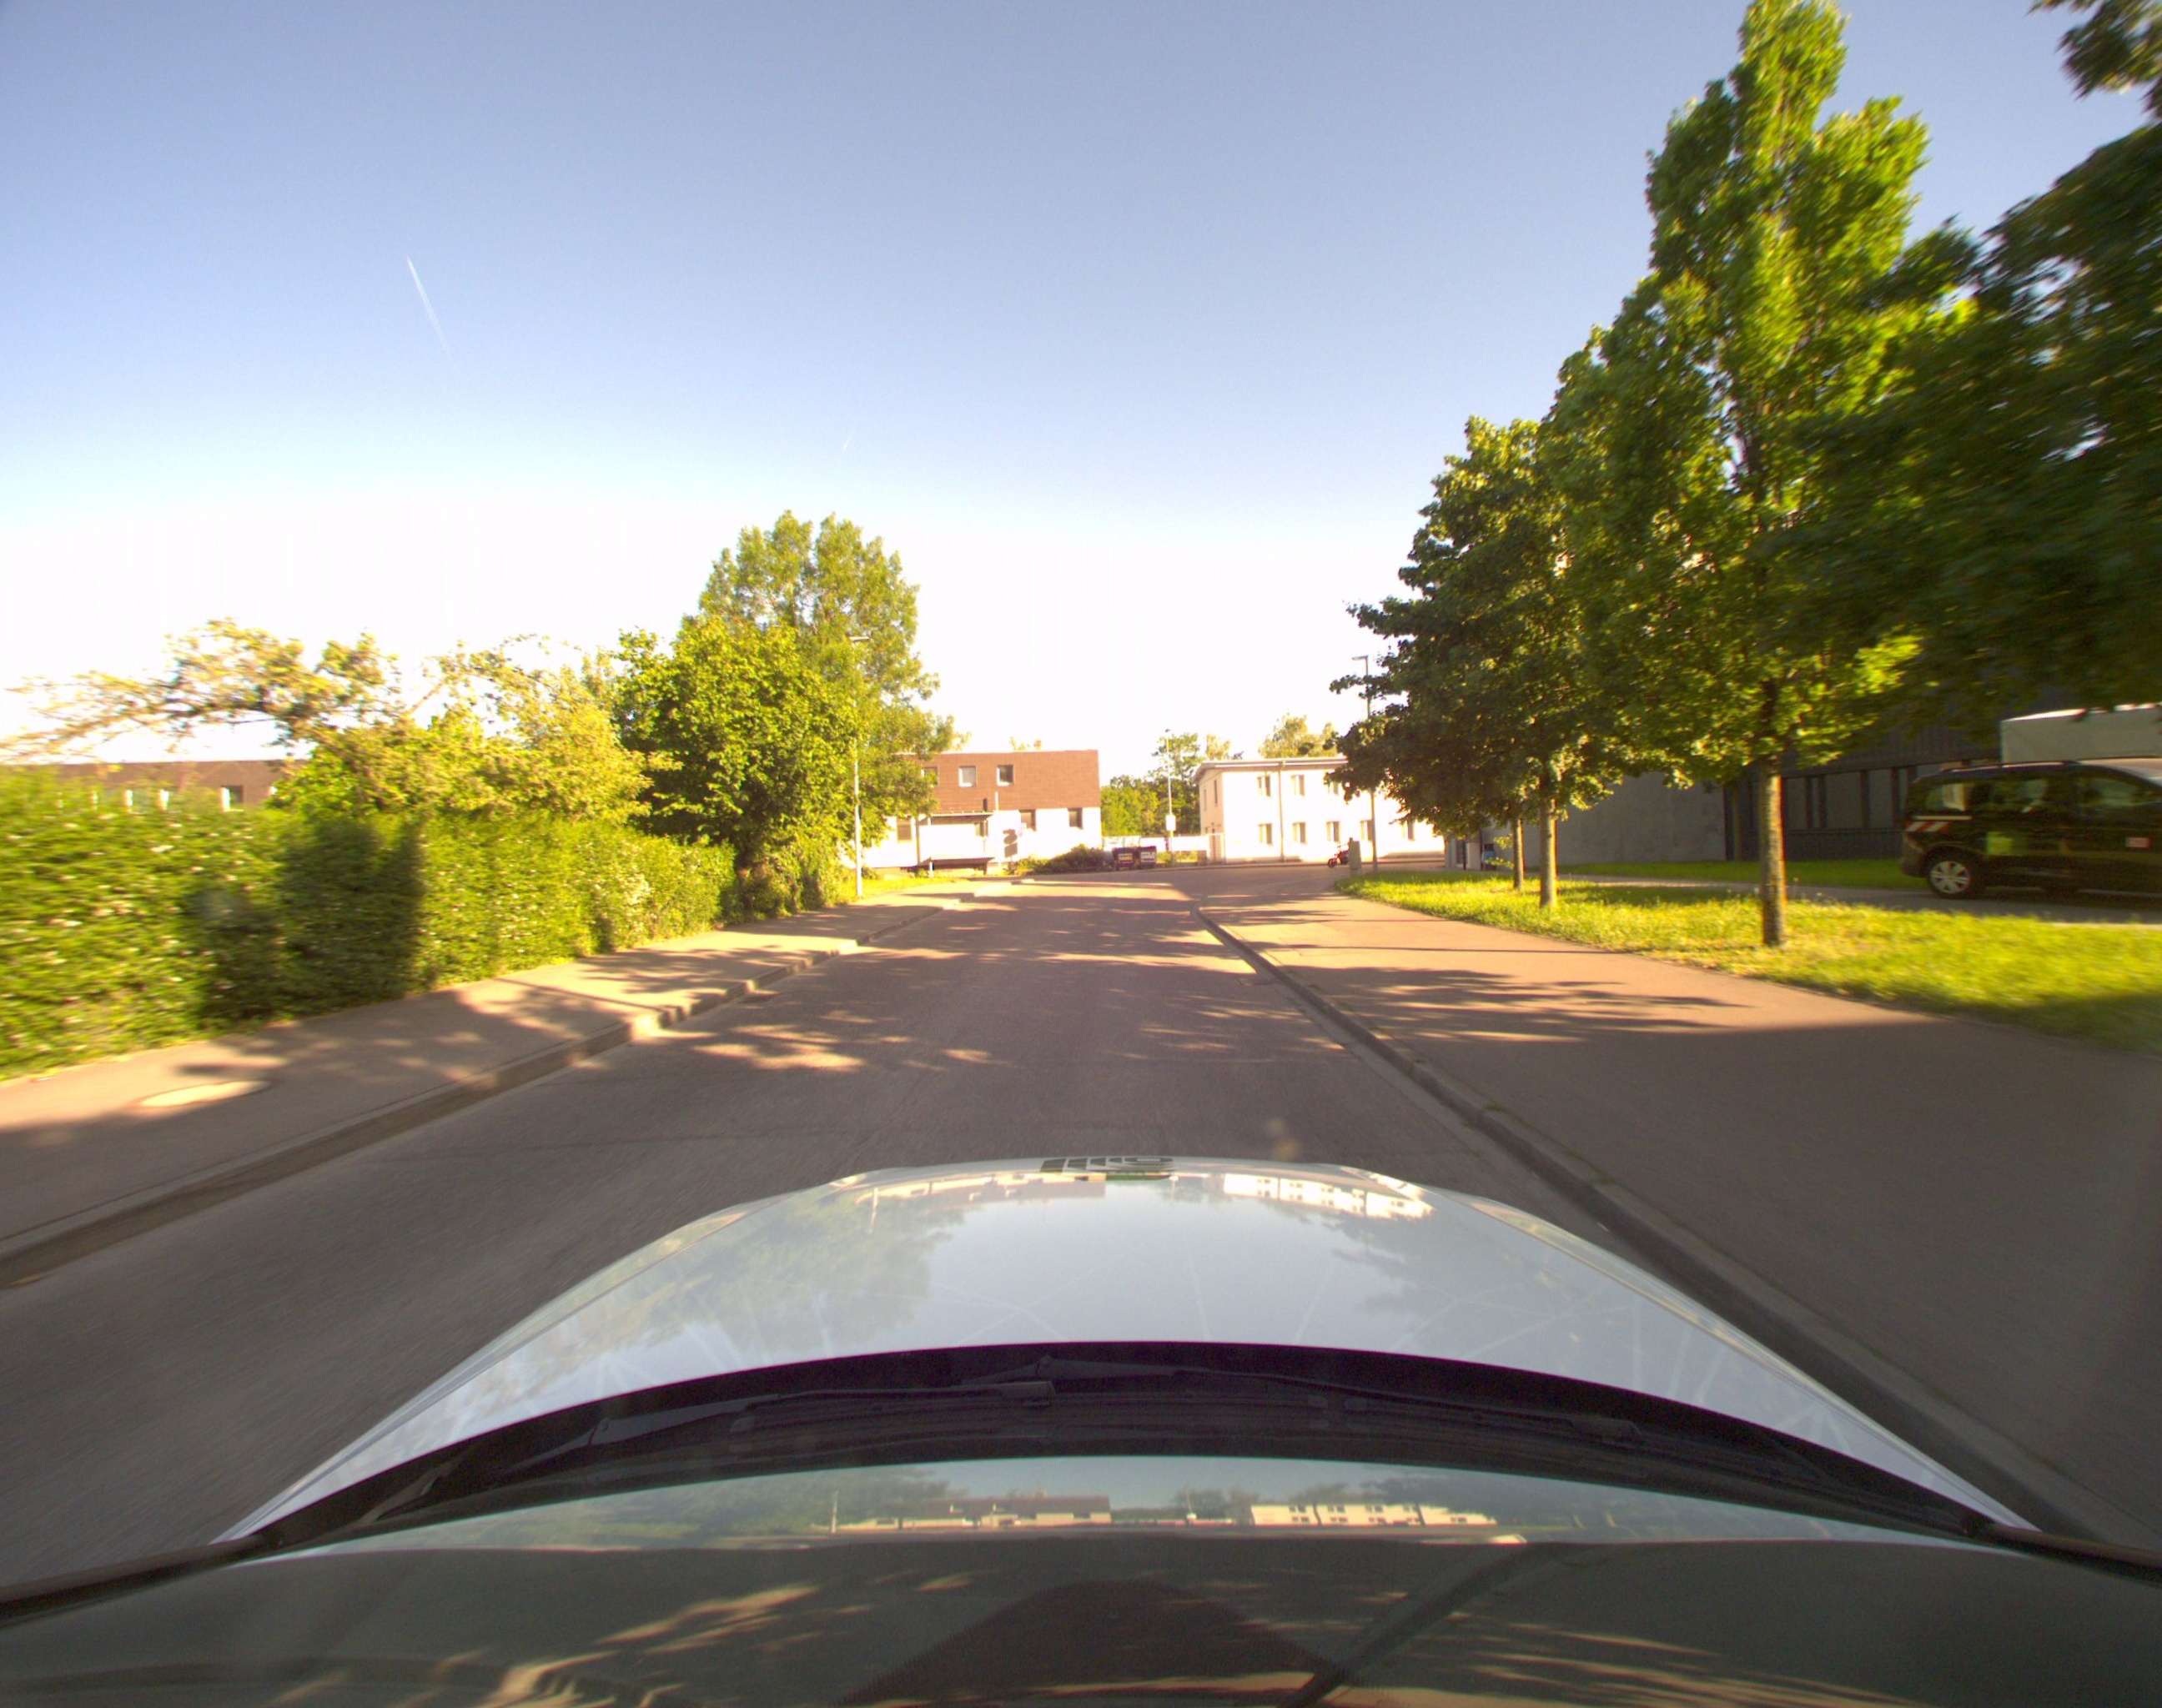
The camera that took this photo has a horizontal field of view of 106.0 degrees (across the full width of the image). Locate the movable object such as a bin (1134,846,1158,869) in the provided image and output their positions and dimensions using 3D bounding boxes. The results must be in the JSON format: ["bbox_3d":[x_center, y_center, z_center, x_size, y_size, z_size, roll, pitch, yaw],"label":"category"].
[{"bbox_3d":[4.040,0.236,50.656,1.363,1.418,1.063,0,-1,-5],"label":"movable object such as a bin"}]

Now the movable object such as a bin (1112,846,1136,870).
[{"bbox_3d":[2.644,0.242,50.343,1.363,1.418,1.063,0,-1,-5],"label":"movable object such as a bin"}]

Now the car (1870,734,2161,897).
[{"bbox_3d":[12.911,-0.426,9.984,1.831,1.814,4.661,0,0,-3],"label":"car"}]

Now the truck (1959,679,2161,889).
[{"bbox_3d":[15.849,-0.950,10.163,2.353,2.838,6.743,0,0,-3],"label":"truck"}]

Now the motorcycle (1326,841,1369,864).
[{"bbox_3d":[14.827,-0.094,45.310,2.027,1.186,0.961,-2,0,-5],"label":"motorcycle"}]

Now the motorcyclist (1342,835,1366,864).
[{"bbox_3d":[15.189,-0.280,45.335,0.893,1.553,1.030,-2,2,-3],"label":"motorcyclist"}]
